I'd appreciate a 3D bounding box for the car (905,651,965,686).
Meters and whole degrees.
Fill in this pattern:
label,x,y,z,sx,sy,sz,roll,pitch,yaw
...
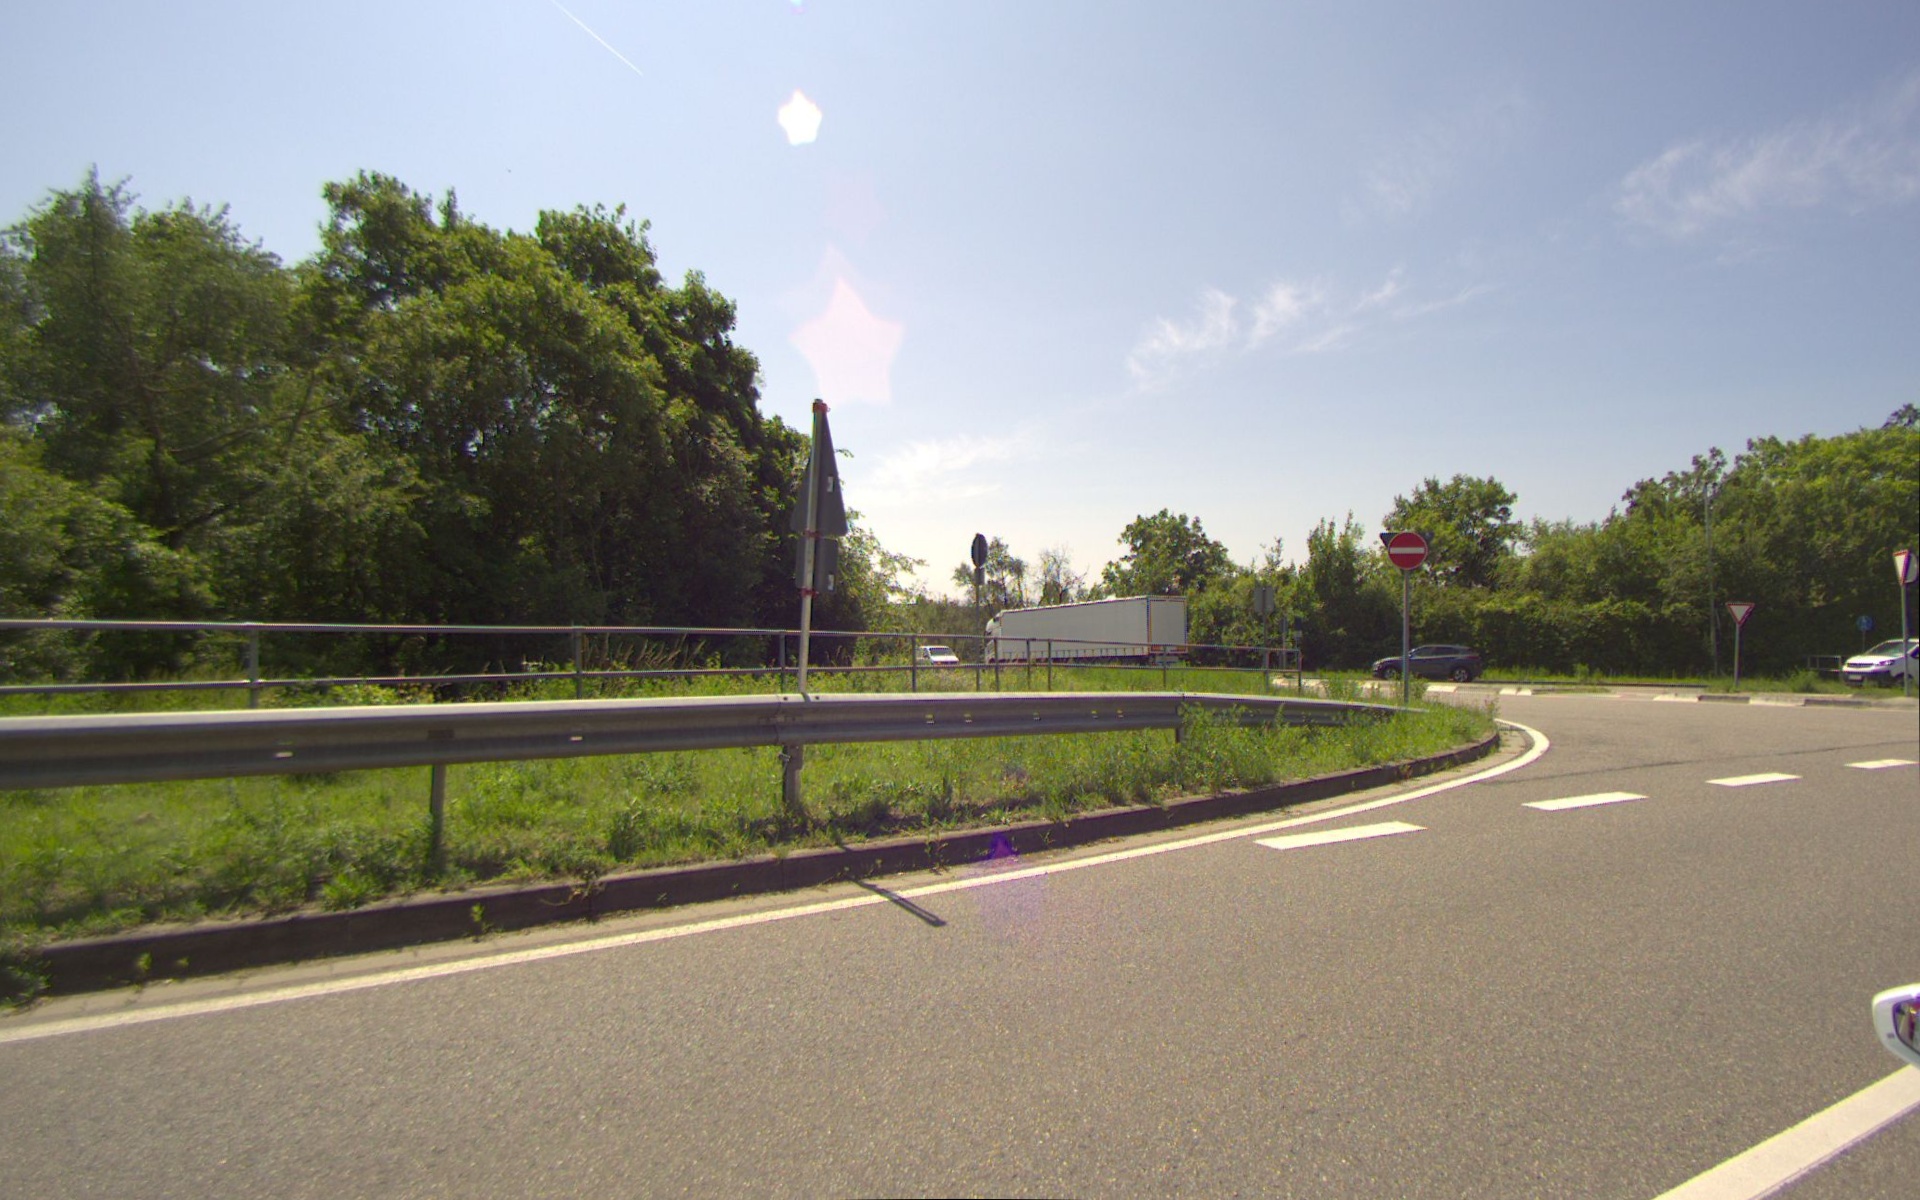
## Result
label,x,y,z,sx,sy,sz,roll,pitch,yaw
car,-1.613,4.204,62.037,1.972,2.054,5.160,1,-4,-23

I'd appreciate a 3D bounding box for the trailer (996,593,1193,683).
label,x,y,z,sx,sy,sz,roll,pitch,yaw
trailer,6.882,2.279,55.143,2.964,4.331,13.684,2,-4,-30

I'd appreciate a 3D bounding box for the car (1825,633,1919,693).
label,x,y,z,sx,sy,sz,roll,pitch,yaw
car,33.702,2.223,35.120,5.091,1.949,2.017,1,0,2

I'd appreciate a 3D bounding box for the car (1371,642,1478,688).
label,x,y,z,sx,sy,sz,roll,pitch,yaw
car,18.966,2.629,40.993,3.857,1.617,1.768,1,0,28

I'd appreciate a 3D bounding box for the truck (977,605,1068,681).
label,x,y,z,sx,sy,sz,roll,pitch,yaw
truck,3.692,2.655,60.735,2.960,4.331,5.891,1,-4,-26
